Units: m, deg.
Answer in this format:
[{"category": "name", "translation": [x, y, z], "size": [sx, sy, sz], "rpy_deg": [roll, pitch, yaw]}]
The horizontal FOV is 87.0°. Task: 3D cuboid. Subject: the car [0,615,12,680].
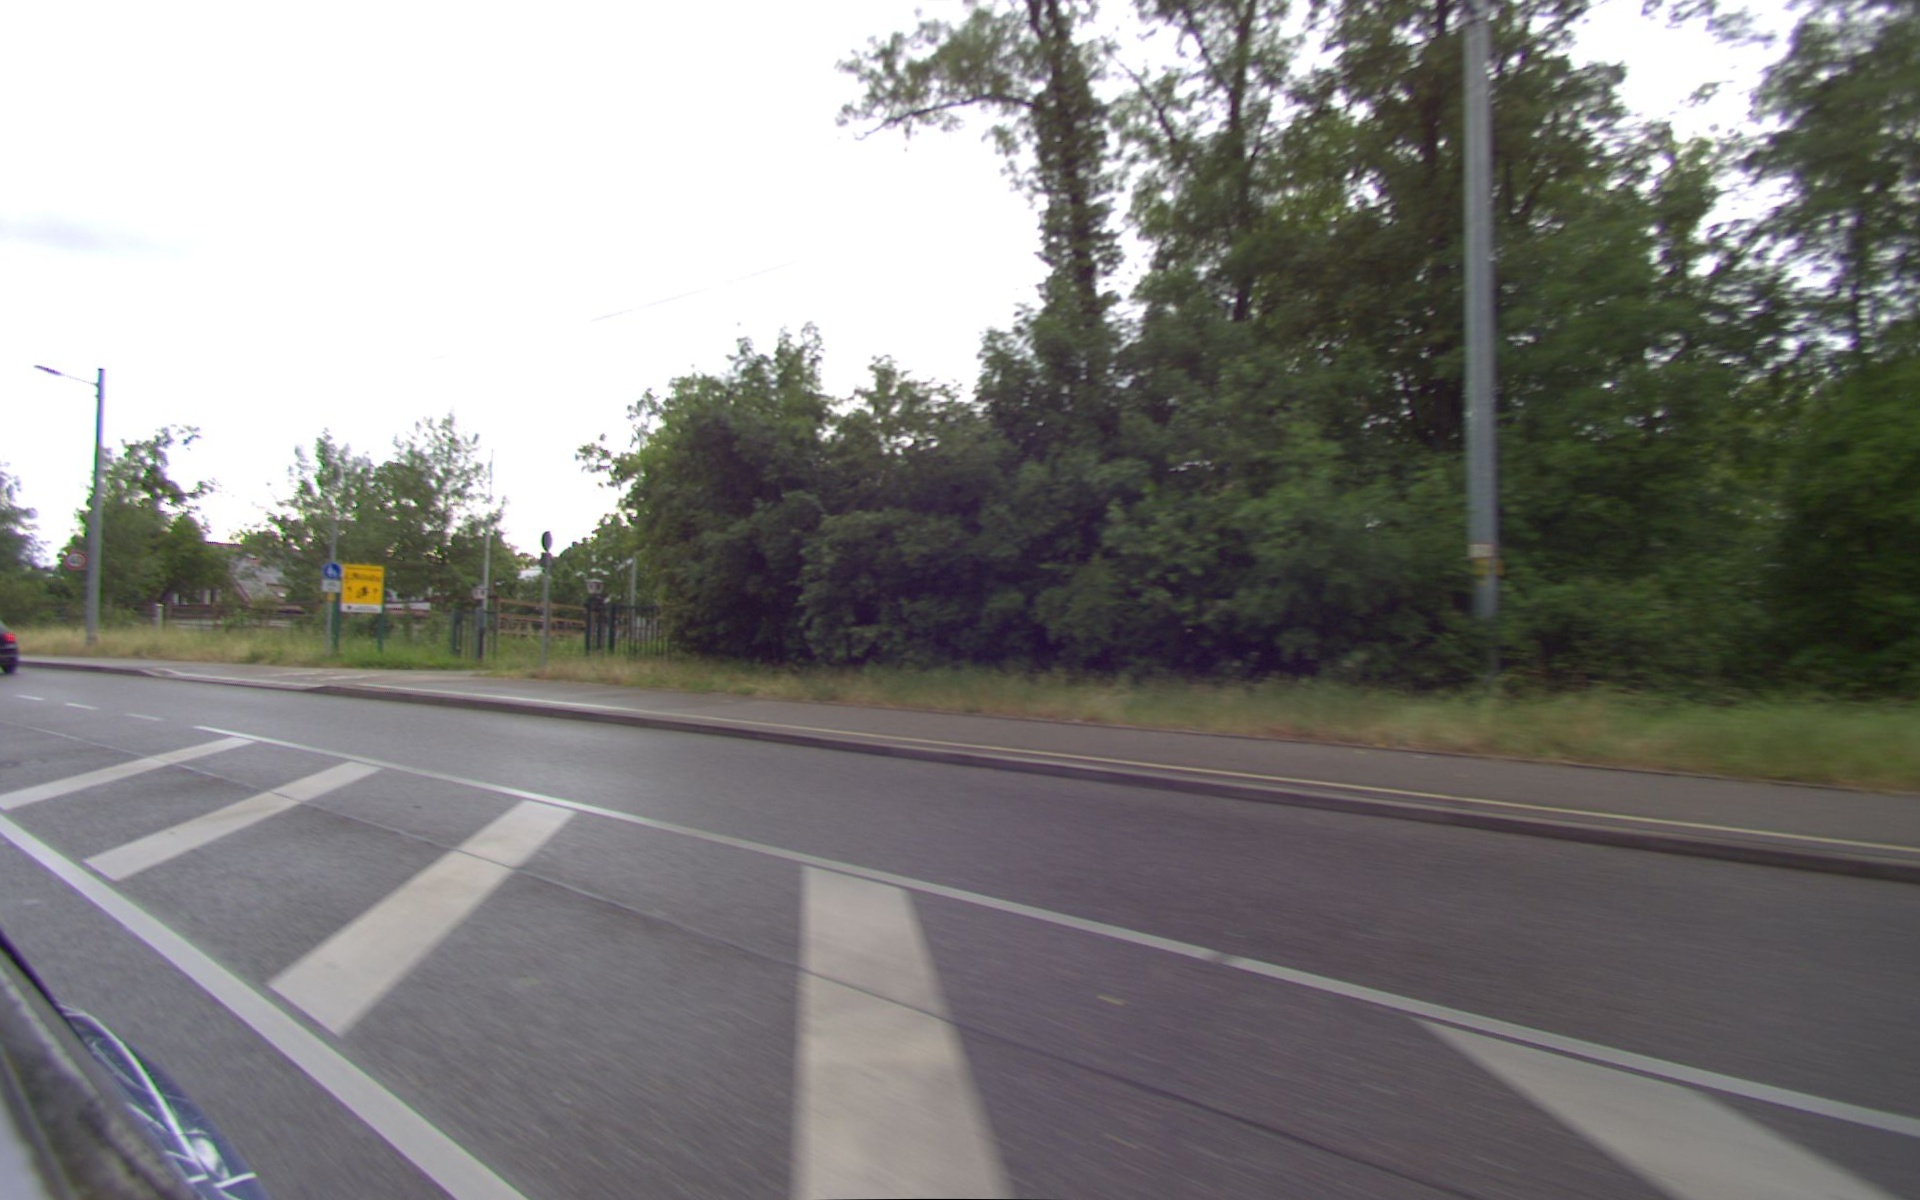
[{"category": "car", "translation": [-24.024, 1.139, 23.883], "size": [3.782, 1.488, 1.581], "rpy_deg": [-1, 0, 34]}]
